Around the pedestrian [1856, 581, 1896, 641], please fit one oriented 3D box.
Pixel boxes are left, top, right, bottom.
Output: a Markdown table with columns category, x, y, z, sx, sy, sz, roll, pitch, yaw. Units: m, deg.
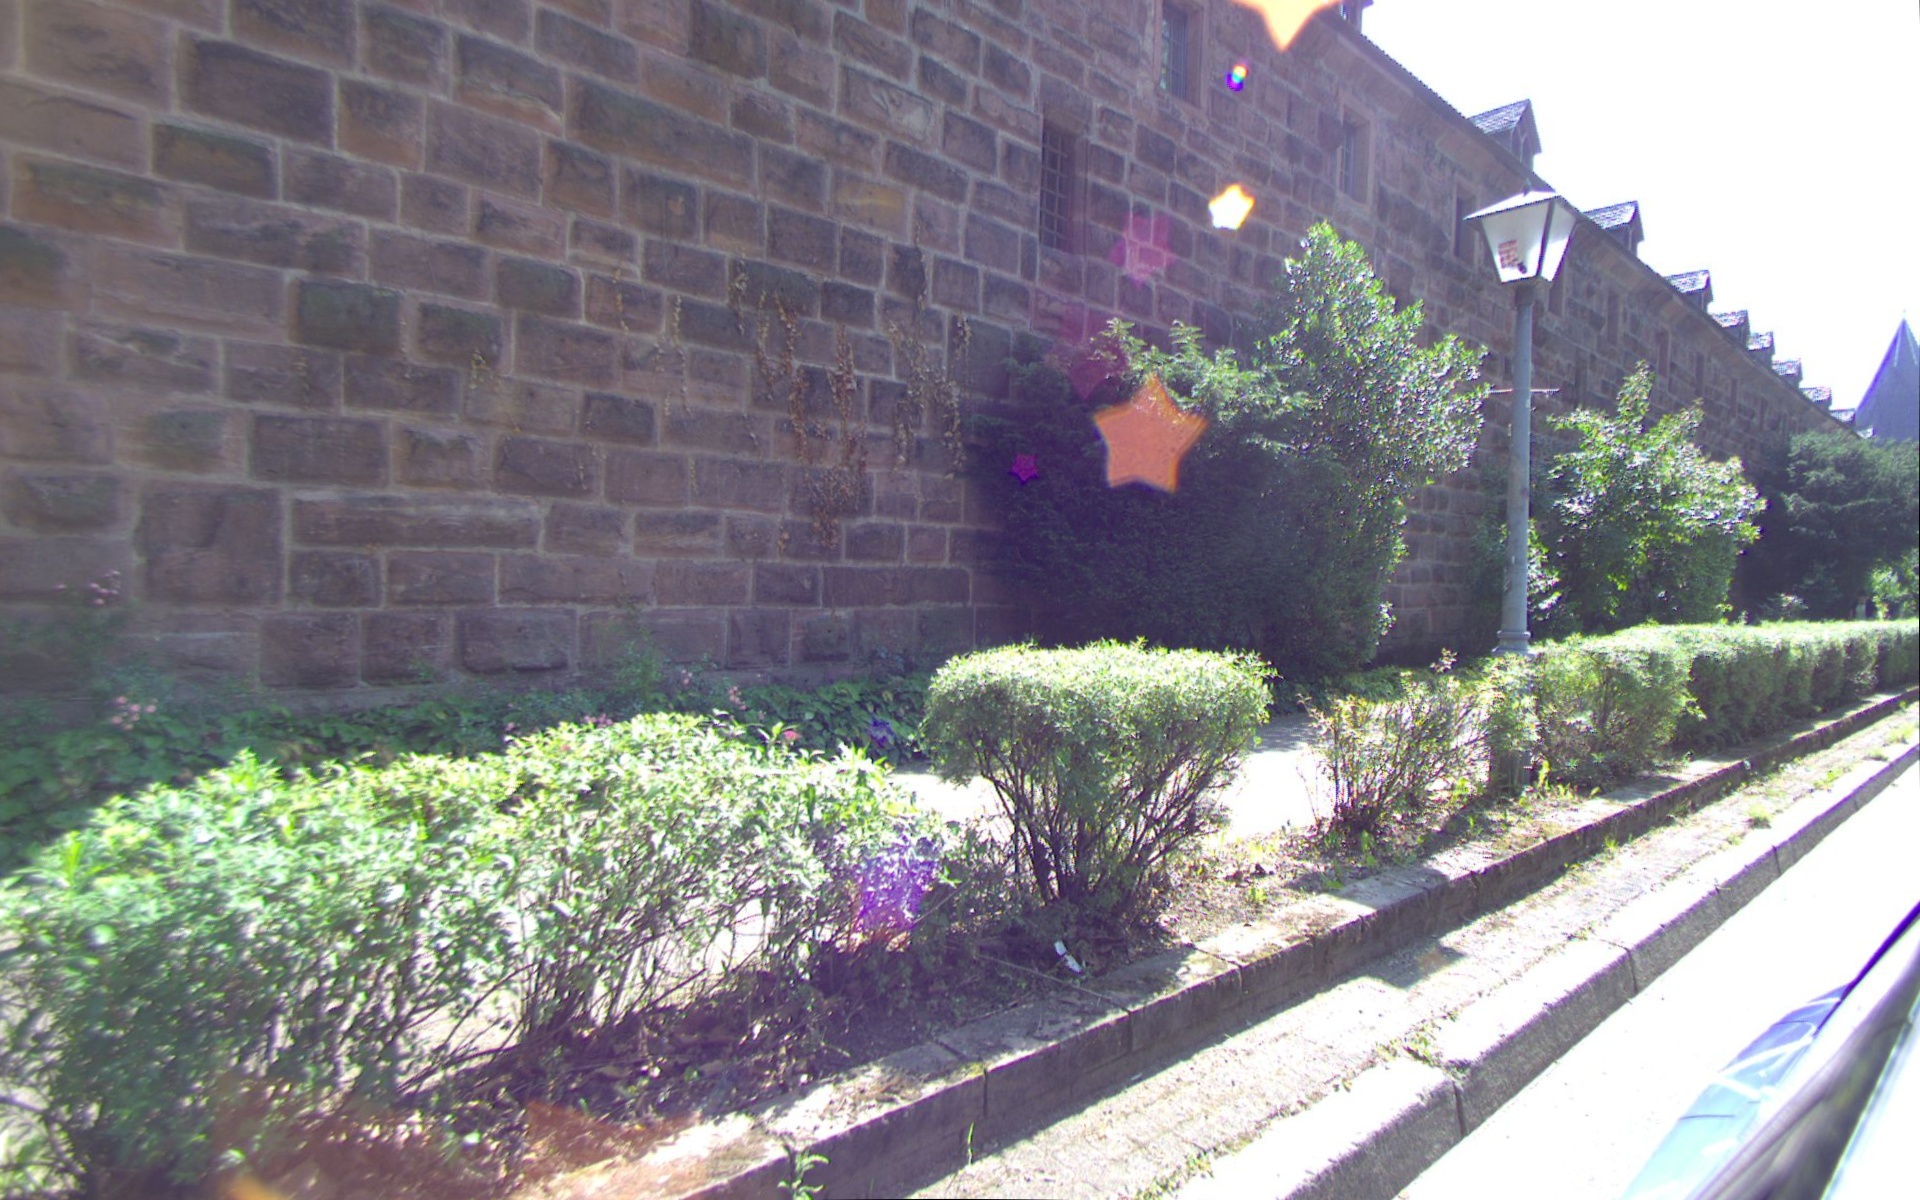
| category | x | y | z | sx | sy | sz | roll | pitch | yaw |
| --- | --- | --- | --- | --- | --- | --- | --- | --- | --- |
| pedestrian | 26.643 | 0.311 | 29.442 | 0.692 | 1.673 | 0.700 | 1 | 2 | -38 |
